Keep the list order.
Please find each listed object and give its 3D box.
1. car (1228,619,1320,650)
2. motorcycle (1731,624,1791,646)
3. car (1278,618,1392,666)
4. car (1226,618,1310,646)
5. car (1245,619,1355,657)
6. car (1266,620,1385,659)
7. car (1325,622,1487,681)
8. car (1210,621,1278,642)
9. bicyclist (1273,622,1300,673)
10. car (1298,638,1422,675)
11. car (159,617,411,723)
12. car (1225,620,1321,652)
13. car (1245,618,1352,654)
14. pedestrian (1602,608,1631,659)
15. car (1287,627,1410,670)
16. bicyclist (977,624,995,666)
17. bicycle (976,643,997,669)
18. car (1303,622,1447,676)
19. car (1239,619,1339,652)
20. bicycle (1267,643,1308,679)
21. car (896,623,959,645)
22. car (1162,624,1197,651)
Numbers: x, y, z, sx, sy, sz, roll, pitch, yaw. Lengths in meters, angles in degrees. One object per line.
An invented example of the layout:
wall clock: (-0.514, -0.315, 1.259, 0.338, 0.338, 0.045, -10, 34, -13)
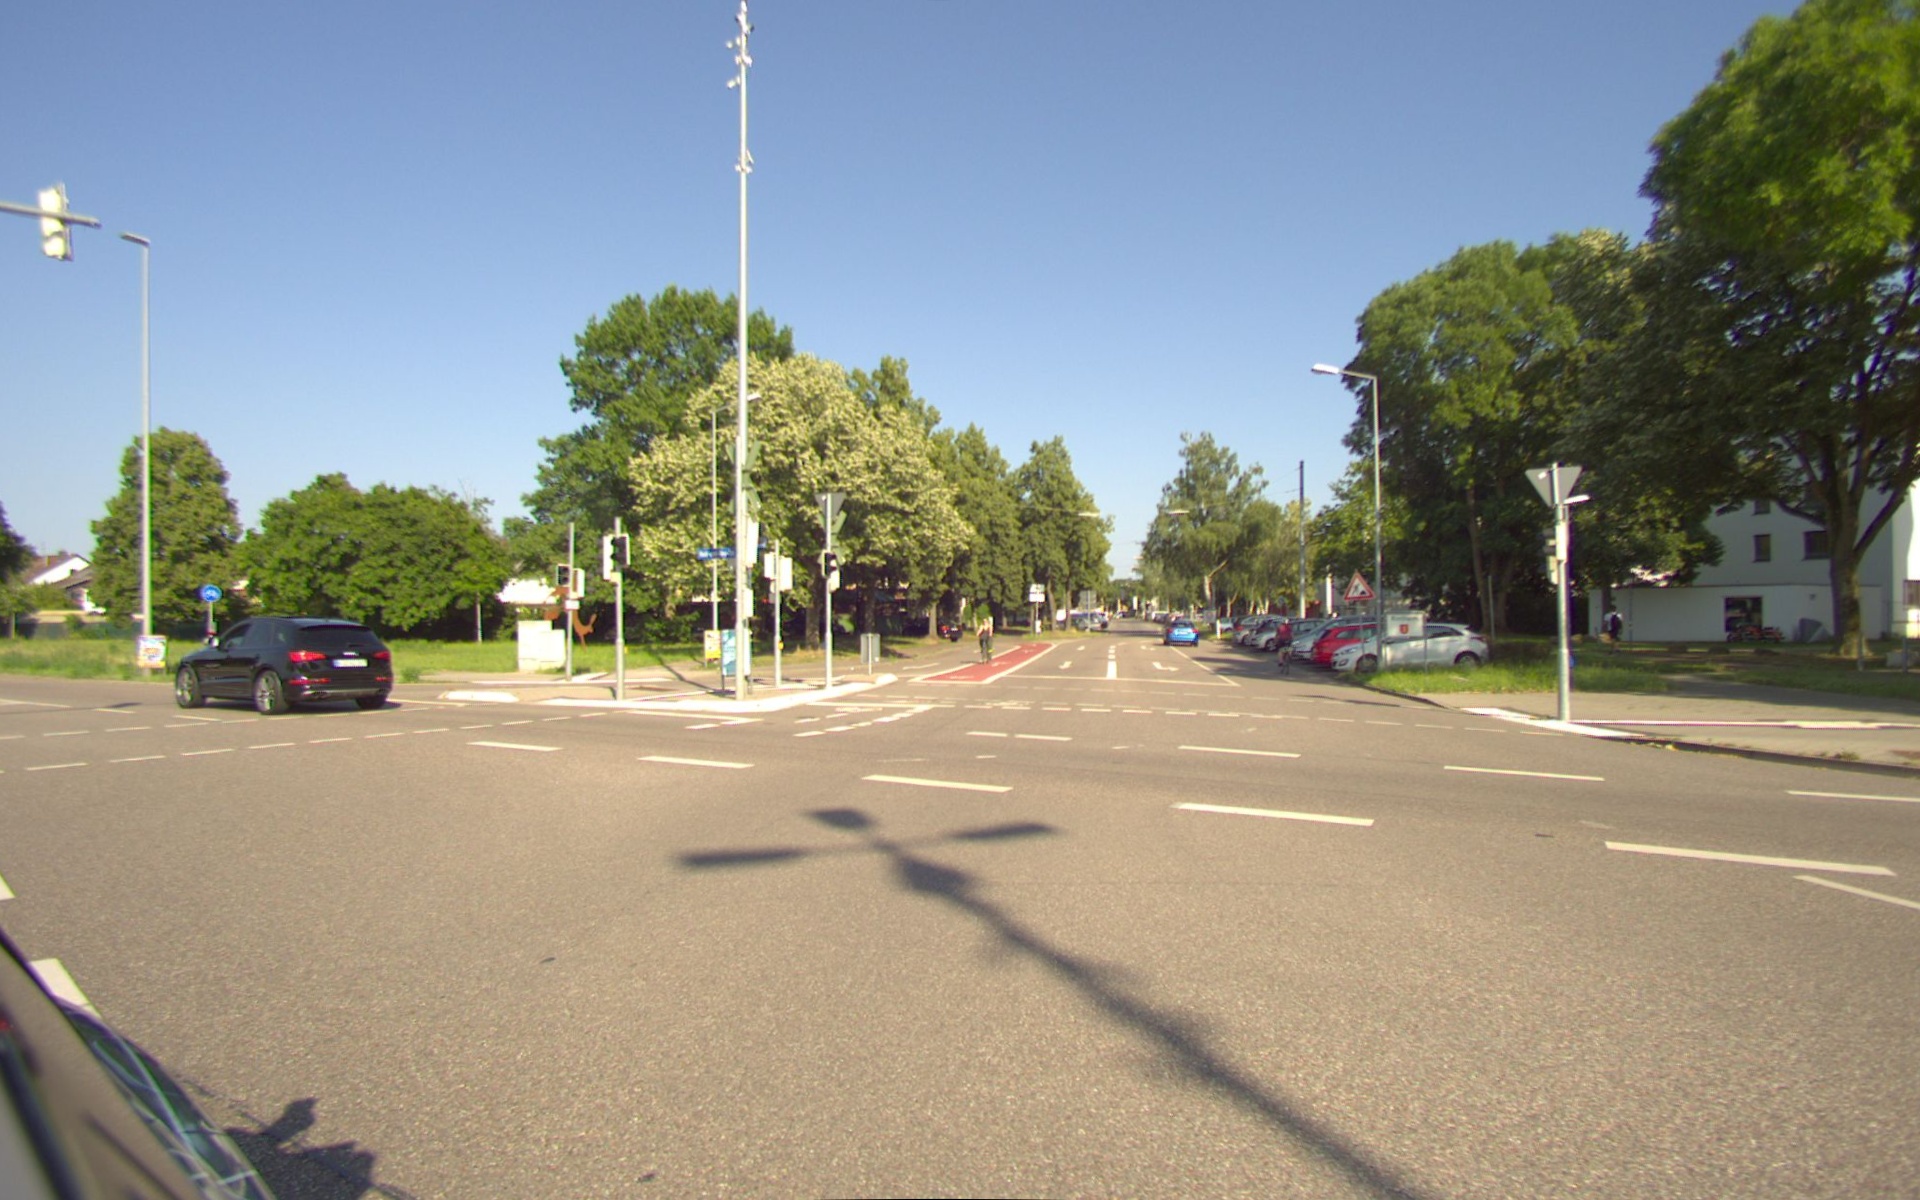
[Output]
car: (18.073, 1.970, 58.357, 4.760, 1.488, 1.780, -3, -2, 10)
motorcycle: (35.538, 1.547, 44.920, 0.517, 0.972, 2.051, 0, -1, -26)
car: (14.756, 1.651, 40.056, 3.958, 1.824, 1.778, -1, -1, 12)
car: (19.305, 1.998, 63.540, 4.760, 1.488, 1.780, -3, -2, 10)
car: (16.149, 1.796, 48.273, 4.662, 1.488, 1.780, -4, -2, 10)
car: (16.602, 1.796, 46.205, 4.760, 1.488, 1.780, -3, -2, 10)
car: (12.884, 1.496, 29.484, 3.960, 1.450, 1.778, -4, -2, 13)
car: (21.250, 2.354, 75.852, 4.767, 1.488, 1.777, -1, -1, 14)
bicyclist: (10.206, 1.491, 31.654, 0.601, 1.572, 0.603, 0, -1, 0)
car: (13.635, 1.906, 34.672, 3.749, 1.202, 1.459, -1, -1, 13)
car: (-11.971, 1.156, 17.908, 4.367, 1.672, 1.975, -1, -2, 30)
car: (17.250, 1.984, 55.998, 4.760, 1.488, 1.780, -3, -2, 10)
car: (16.960, 1.805, 50.957, 4.760, 1.488, 1.780, -4, -2, 10)
pedestrian: (22.330, 1.127, 34.431, 0.704, 1.726, 0.617, -2, -2, 42)
car: (14.238, 1.770, 37.338, 3.958, 1.532, 1.778, -1, -1, 12)
bicyclist: (0.997, 1.697, 38.323, 0.610, 1.535, 0.626, -2, -1, 5)
bicycle: (1.010, 2.100, 38.301, 0.646, 0.910, 1.806, -1, -1, 5)
car: (13.278, 1.563, 32.649, 3.962, 1.426, 1.777, -4, -2, 14)
car: (17.321, 1.876, 53.430, 4.724, 1.488, 1.780, -3, -2, 10)
bicycle: (10.207, 1.886, 31.637, 0.613, 1.048, 2.071, 0, -1, 1)
car: (-2.116, 2.138, 64.470, 1.501, 1.330, 4.779, 1, -1, -38)
car: (12.261, 2.094, 56.686, 1.766, 1.425, 4.229, 0, -1, 11)
